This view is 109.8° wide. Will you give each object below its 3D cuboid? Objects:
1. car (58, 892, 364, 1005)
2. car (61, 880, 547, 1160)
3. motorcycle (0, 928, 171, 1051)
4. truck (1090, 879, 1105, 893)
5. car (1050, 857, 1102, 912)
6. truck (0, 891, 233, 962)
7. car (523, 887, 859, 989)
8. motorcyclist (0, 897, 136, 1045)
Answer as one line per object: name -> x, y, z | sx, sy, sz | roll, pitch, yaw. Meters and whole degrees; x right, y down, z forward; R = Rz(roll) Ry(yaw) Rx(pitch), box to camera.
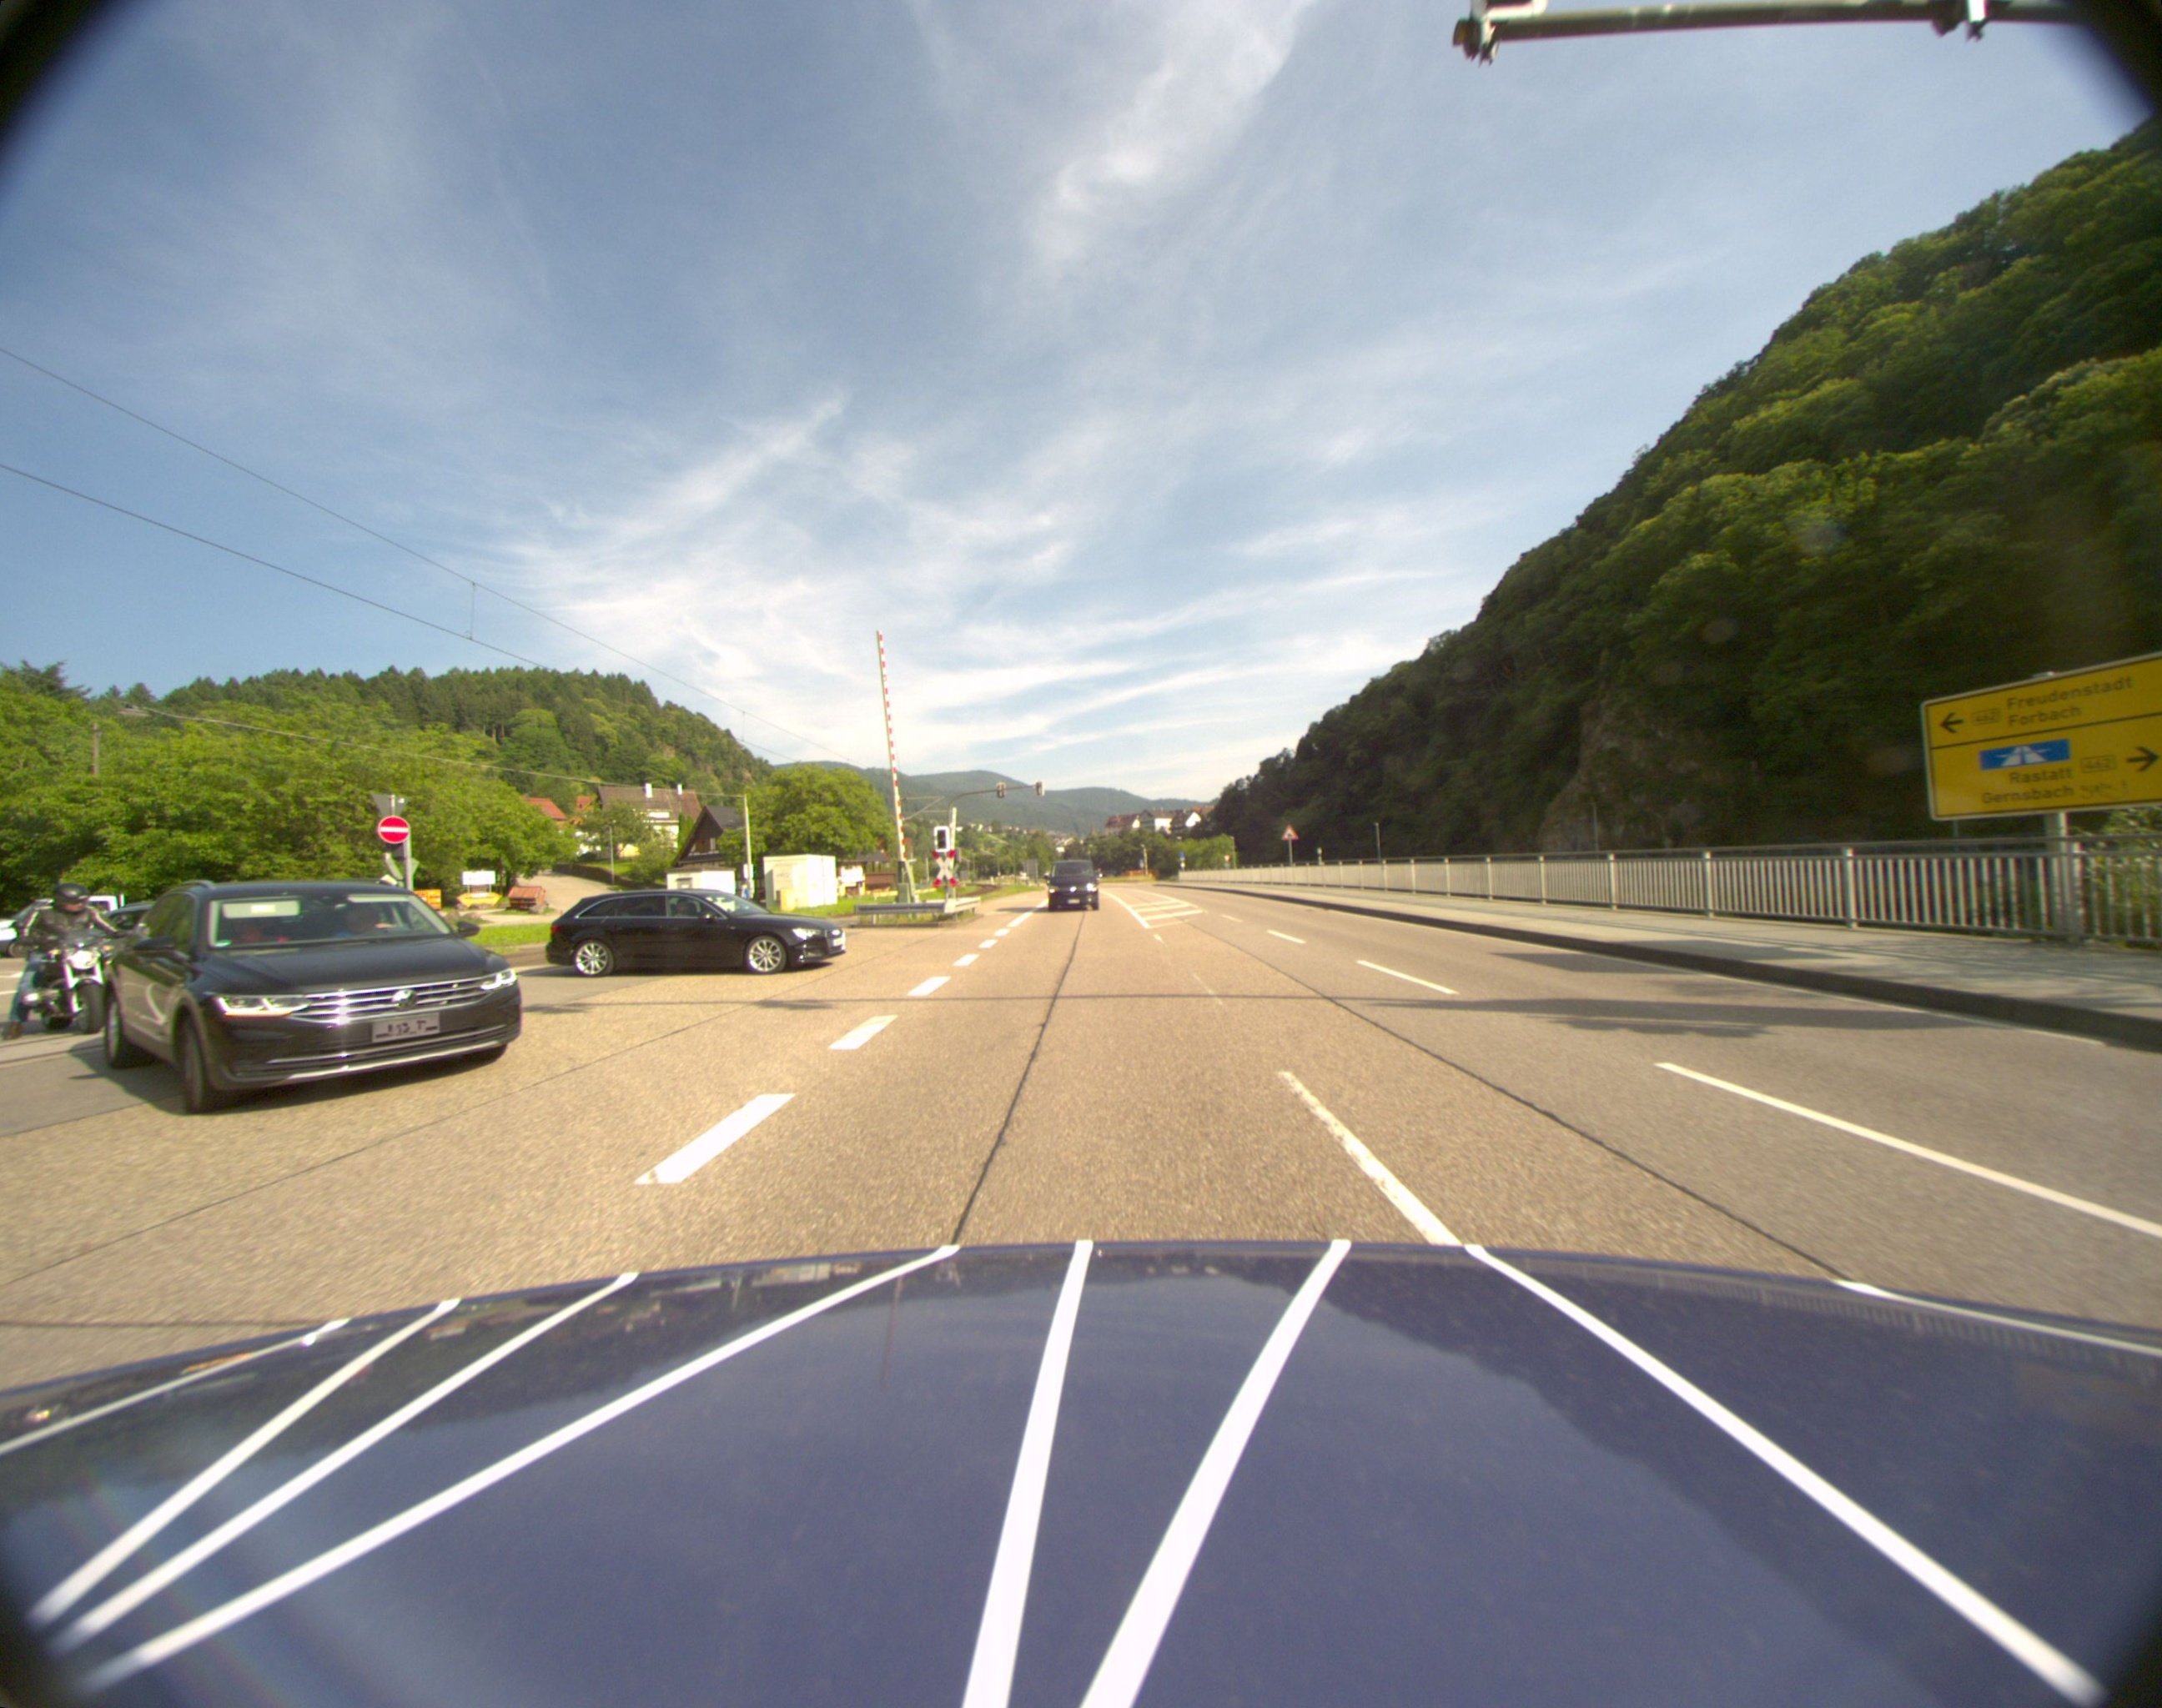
car -> -15.502, 1.664, 13.612 | 4.119, 1.676, 1.837 | -4, -2, 13
car -> -6.944, 1.123, 6.661 | 4.729, 1.649, 1.934 | -3, -1, 31
motorcycle -> -11.714, 1.545, 8.768 | 2.096, 1.246, 0.800 | -4, -1, 18
truck -> 2.856, 5.493, 130.854 | 2.170, 2.372, 5.855 | -3, -2, -2
car -> -0.256, 1.193, 30.157 | 1.865, 1.935, 4.639 | -1, -2, -2
truck -> -37.609, 2.669, 29.419 | 2.401, 2.219, 5.949 | -1, 0, 30
car -> -6.408, 1.366, 12.833 | 4.737, 1.461, 1.842 | -1, -1, 2
motorcyclist -> -11.841, 1.326, 8.819 | 0.908, 1.587, 0.766 | -4, -1, 17
